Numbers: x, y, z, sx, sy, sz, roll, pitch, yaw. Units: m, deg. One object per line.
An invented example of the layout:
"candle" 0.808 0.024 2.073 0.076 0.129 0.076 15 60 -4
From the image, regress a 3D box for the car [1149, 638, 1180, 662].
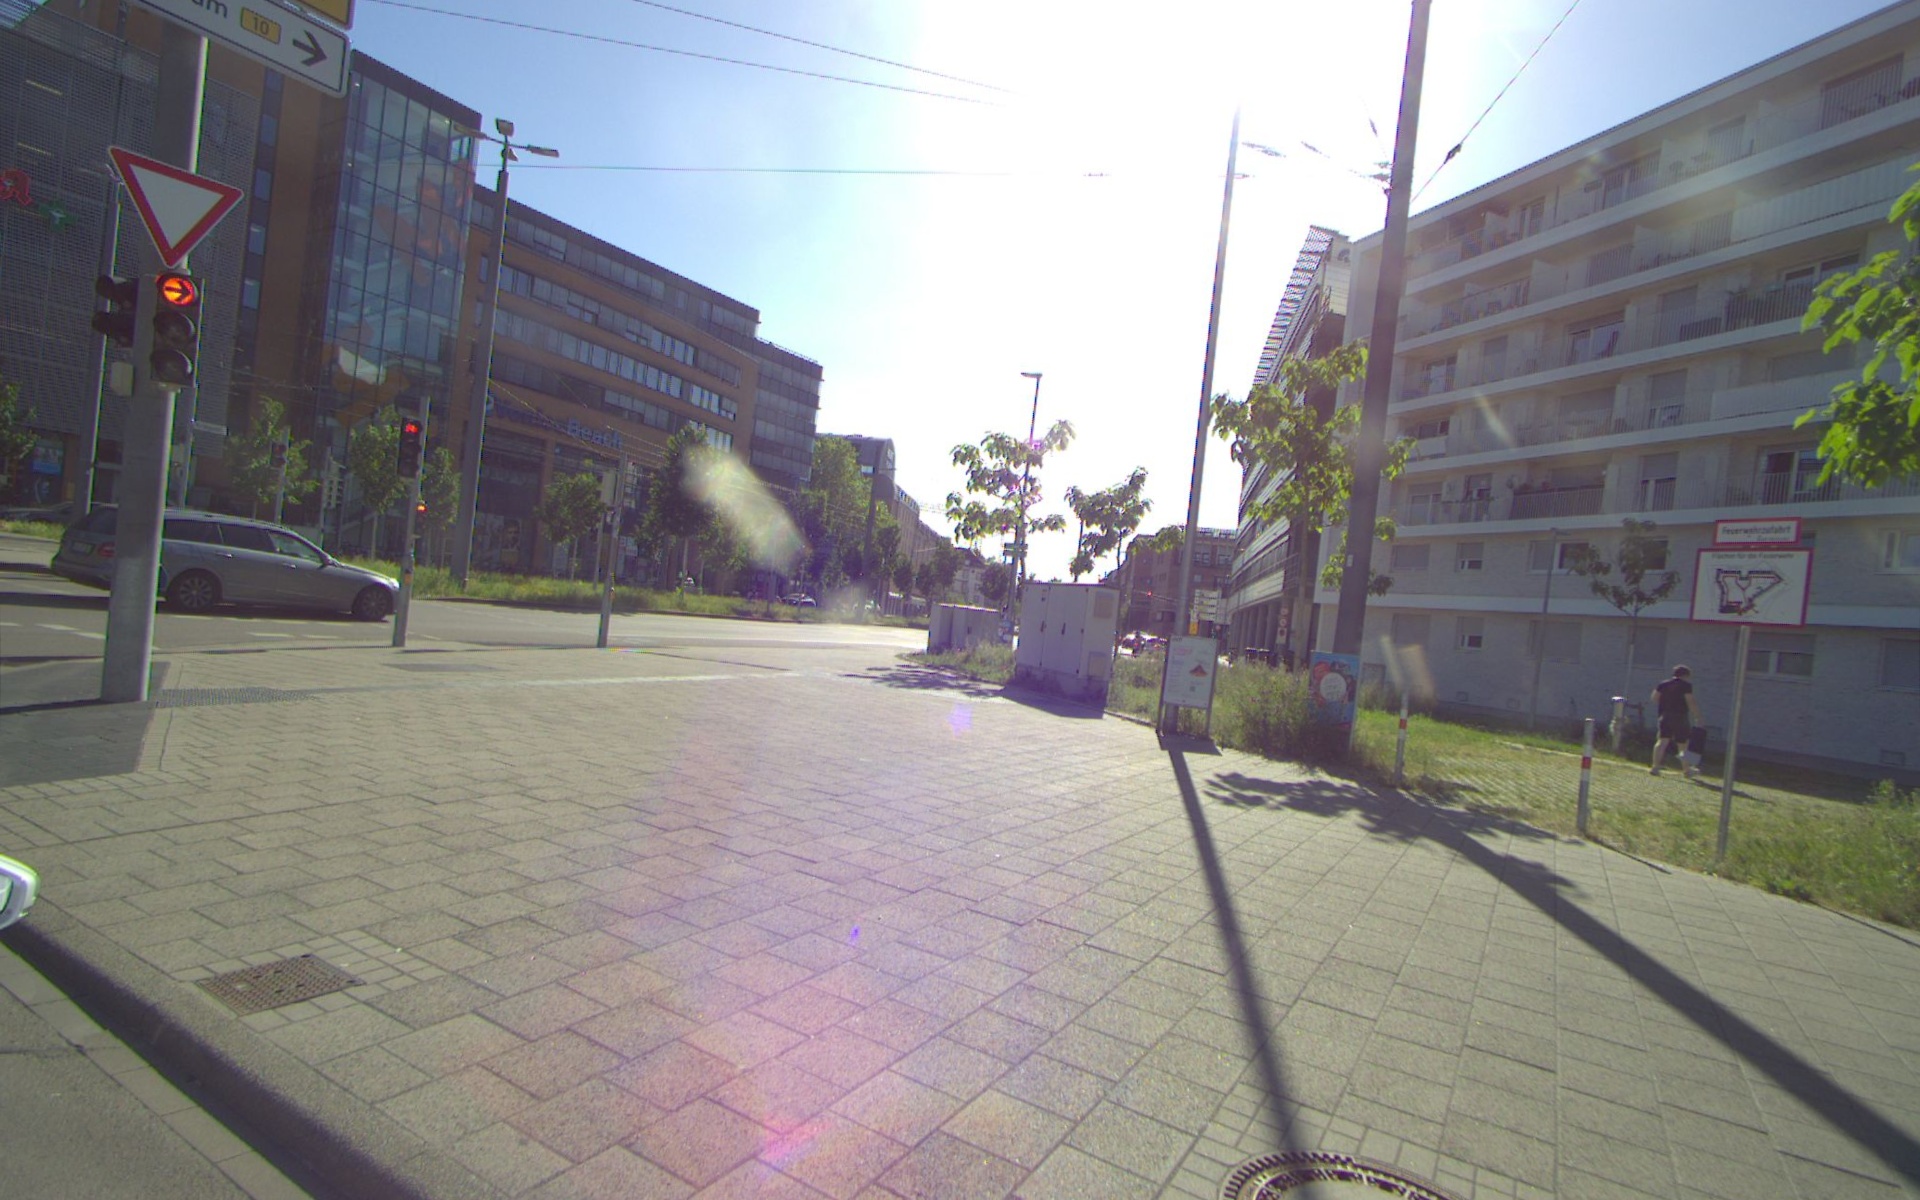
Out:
"car" 15.783 3.869 77.516 1.677 1.515 4.281 7 -2 19

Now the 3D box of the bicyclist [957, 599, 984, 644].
"bicyclist" 0.430 0.866 40.230 0.563 1.727 0.885 7 -1 25

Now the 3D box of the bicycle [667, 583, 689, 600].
"bicycle" -24.295 -0.704 86.768 0.559 1.232 1.859 9 1 31

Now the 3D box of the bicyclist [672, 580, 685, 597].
"bicyclist" -24.273 -0.999 86.729 0.556 1.404 0.754 9 2 31

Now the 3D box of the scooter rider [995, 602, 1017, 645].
"scooter rider" 2.145 1.105 47.054 0.563 1.894 0.787 7 -1 22

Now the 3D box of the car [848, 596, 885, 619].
"car" -9.634 0.819 103.590 1.807 1.885 4.340 6 -1 23

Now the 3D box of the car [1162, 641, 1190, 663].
"car" 17.911 4.323 83.269 1.677 1.515 4.281 7 -2 19

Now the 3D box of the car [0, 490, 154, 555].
"car" -32.073 -2.769 36.330 1.810 1.484 4.161 6 -5 30

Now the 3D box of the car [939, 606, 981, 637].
"car" 0.024 1.383 64.013 1.615 1.665 3.704 7 -1 15

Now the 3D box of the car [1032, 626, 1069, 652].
"car" 6.846 2.945 75.717 1.616 1.665 4.200 7 -1 20

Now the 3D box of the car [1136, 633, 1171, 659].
"car" 13.698 3.257 71.035 1.677 1.515 4.281 7 -2 19

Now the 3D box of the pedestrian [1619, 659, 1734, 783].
"pedestrian" 10.998 1.849 15.464 0.970 1.719 0.842 6 2 -16

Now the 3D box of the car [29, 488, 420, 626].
"car" -11.675 -0.581 16.458 1.676 1.591 4.870 7 -1 24

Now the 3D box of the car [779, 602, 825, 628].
"car" -13.660 1.297 87.133 1.807 1.600 4.310 7 -5 23

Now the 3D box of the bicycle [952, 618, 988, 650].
"bicycle" 0.425 1.373 40.259 0.571 1.150 1.907 7 -2 25
